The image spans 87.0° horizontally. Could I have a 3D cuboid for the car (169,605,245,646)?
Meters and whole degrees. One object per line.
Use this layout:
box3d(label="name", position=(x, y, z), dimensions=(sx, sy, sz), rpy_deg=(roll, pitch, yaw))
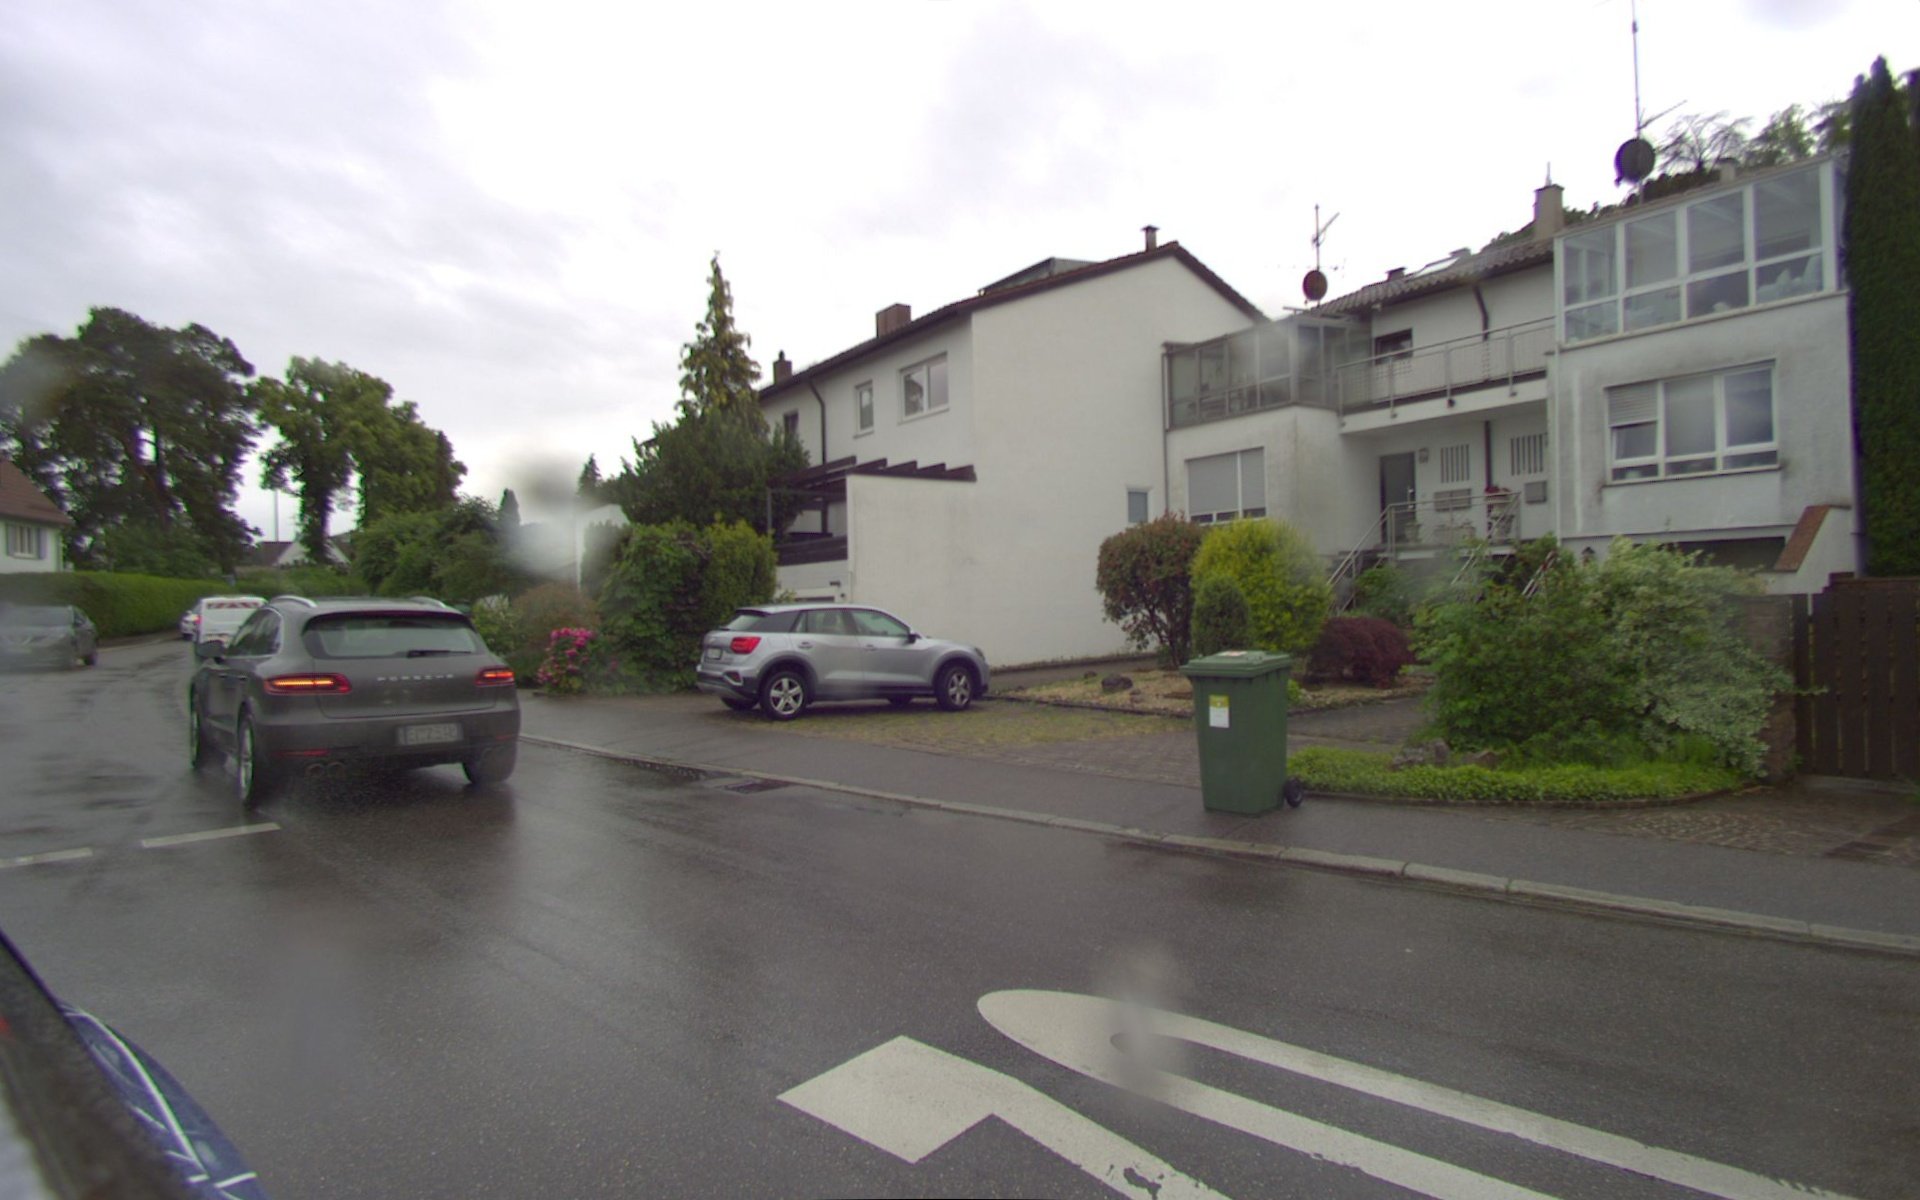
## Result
box3d(label="car", position=(-32.065, 1.058, 43.215), dimensions=(1.637, 1.651, 4.229), rpy_deg=(-1, 0, -23))

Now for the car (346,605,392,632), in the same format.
box3d(label="car", position=(-38.878, 1.203, 66.655), dimensions=(1.638, 1.651, 4.228), rpy_deg=(-1, 0, -17))

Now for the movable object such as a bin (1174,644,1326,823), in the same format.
box3d(label="movable object such as a bin", position=(1.997, 0.873, 6.956), dimensions=(0.836, 1.076, 0.623), rpy_deg=(-3, 0, -44))

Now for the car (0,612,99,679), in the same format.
box3d(label="car", position=(-23.440, 1.093, 25.688), dimensions=(1.875, 1.553, 4.227), rpy_deg=(-1, 0, -33))

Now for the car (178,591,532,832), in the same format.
box3d(label="car", position=(-5.504, 0.772, 8.939), dimensions=(1.768, 1.606, 4.219), rpy_deg=(-1, 0, -44))

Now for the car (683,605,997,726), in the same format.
box3d(label="car", position=(-1.613, 0.834, 14.015), dimensions=(3.932, 1.451, 1.774), rpy_deg=(1, -1, -32))

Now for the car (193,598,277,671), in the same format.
box3d(label="car", position=(-20.294, 0.915, 28.459), dimensions=(1.753, 1.879, 4.227), rpy_deg=(0, -1, -34))
